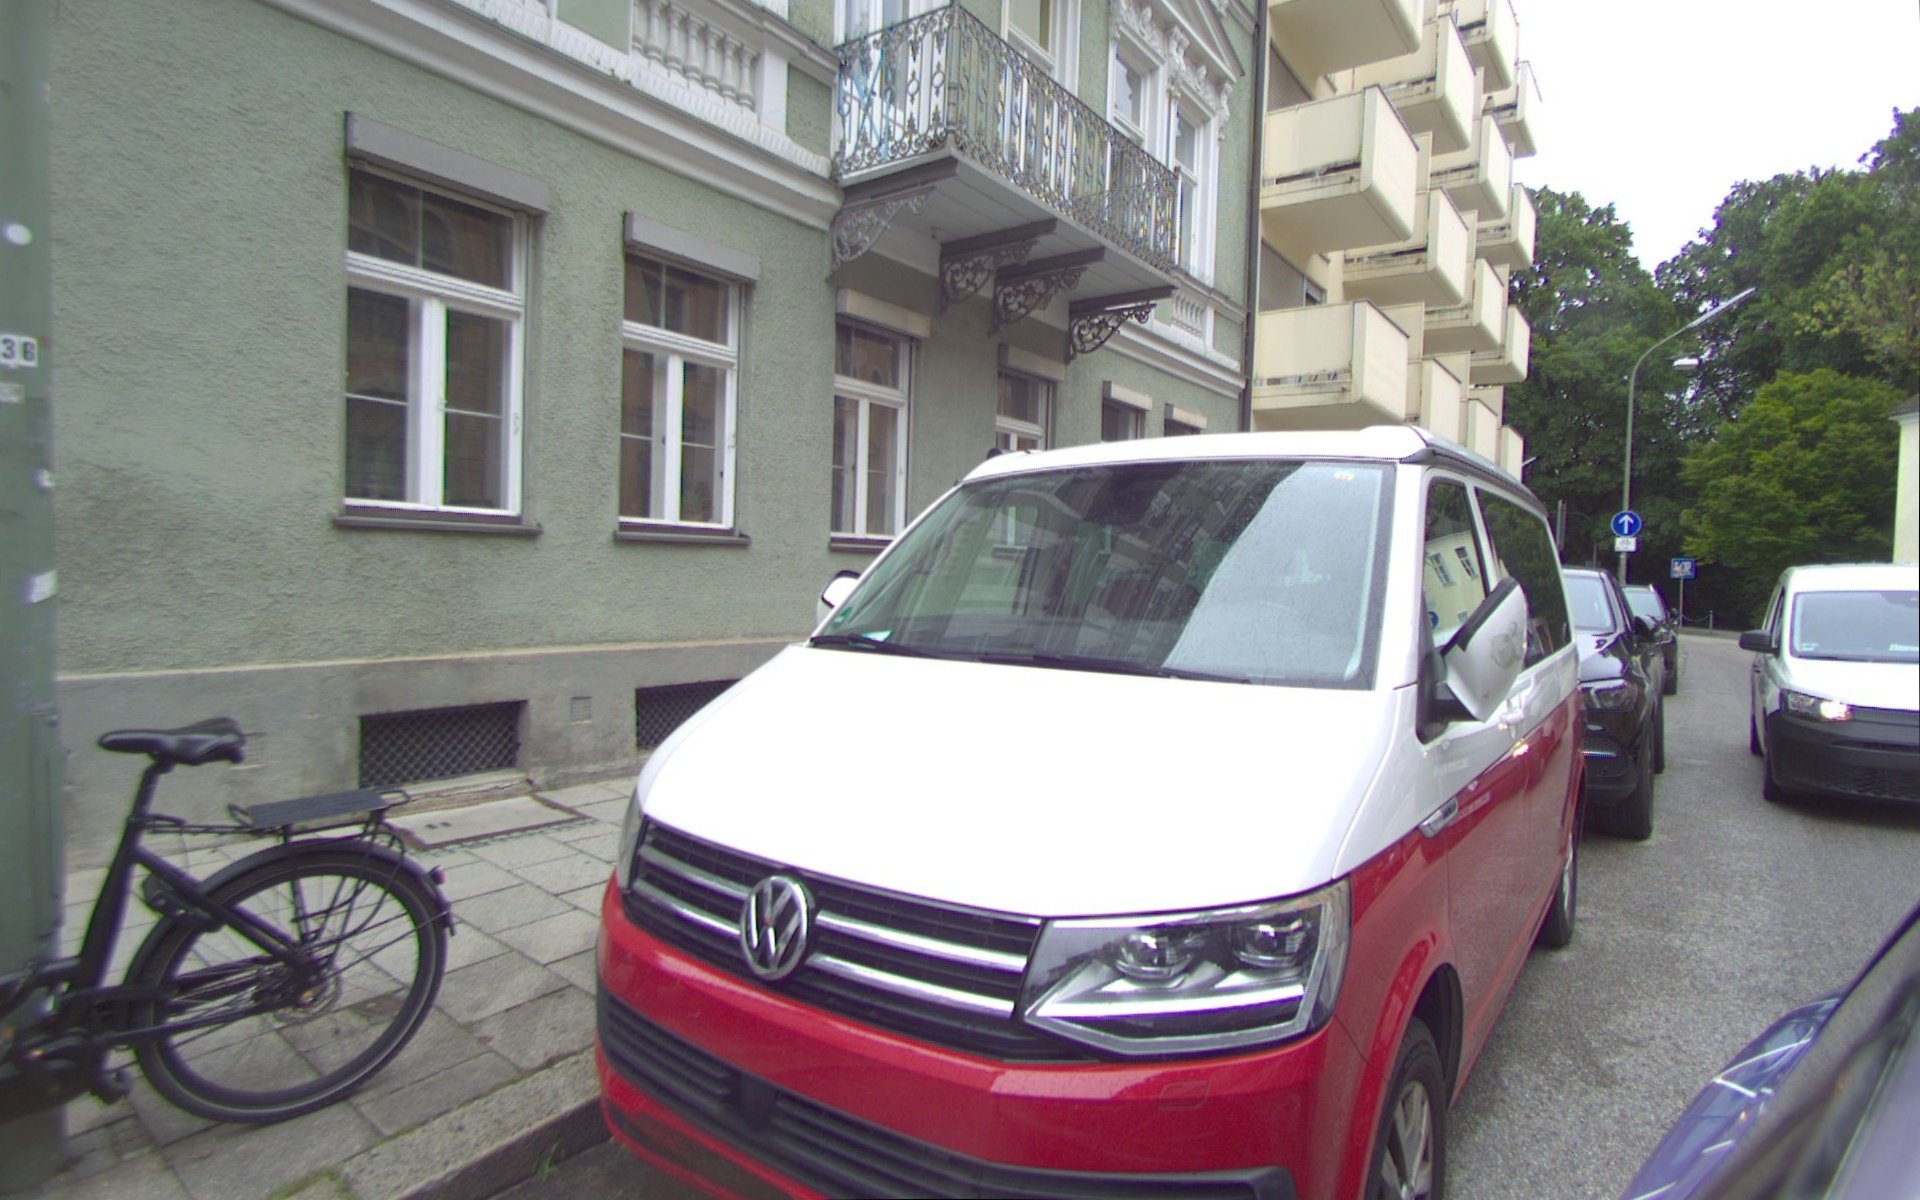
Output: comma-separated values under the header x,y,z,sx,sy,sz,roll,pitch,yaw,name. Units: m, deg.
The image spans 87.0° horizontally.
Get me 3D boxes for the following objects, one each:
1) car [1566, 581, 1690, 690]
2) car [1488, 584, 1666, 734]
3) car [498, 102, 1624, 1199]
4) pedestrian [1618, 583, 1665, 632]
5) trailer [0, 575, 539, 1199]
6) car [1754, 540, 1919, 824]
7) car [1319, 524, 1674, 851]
x,y,z,sx,sy,sz,roll,pitch,yaw,name
11.206,0.510,16.876,1.543,1.591,3.926,1,1,36,car
7.643,0.586,12.373,1.543,1.515,3.926,1,1,36,car
1.040,0.367,3.550,1.849,1.920,4.529,0,0,37,car
25.747,0.257,38.271,1.058,1.822,1.091,0,1,5,pedestrian
-2.097,0.587,1.966,0.942,1.198,2.132,7,5,41,trailer
7.358,0.508,7.862,1.768,1.794,3.946,2,2,37,car
4.399,0.468,7.876,1.822,1.780,4.493,1,0,36,car
